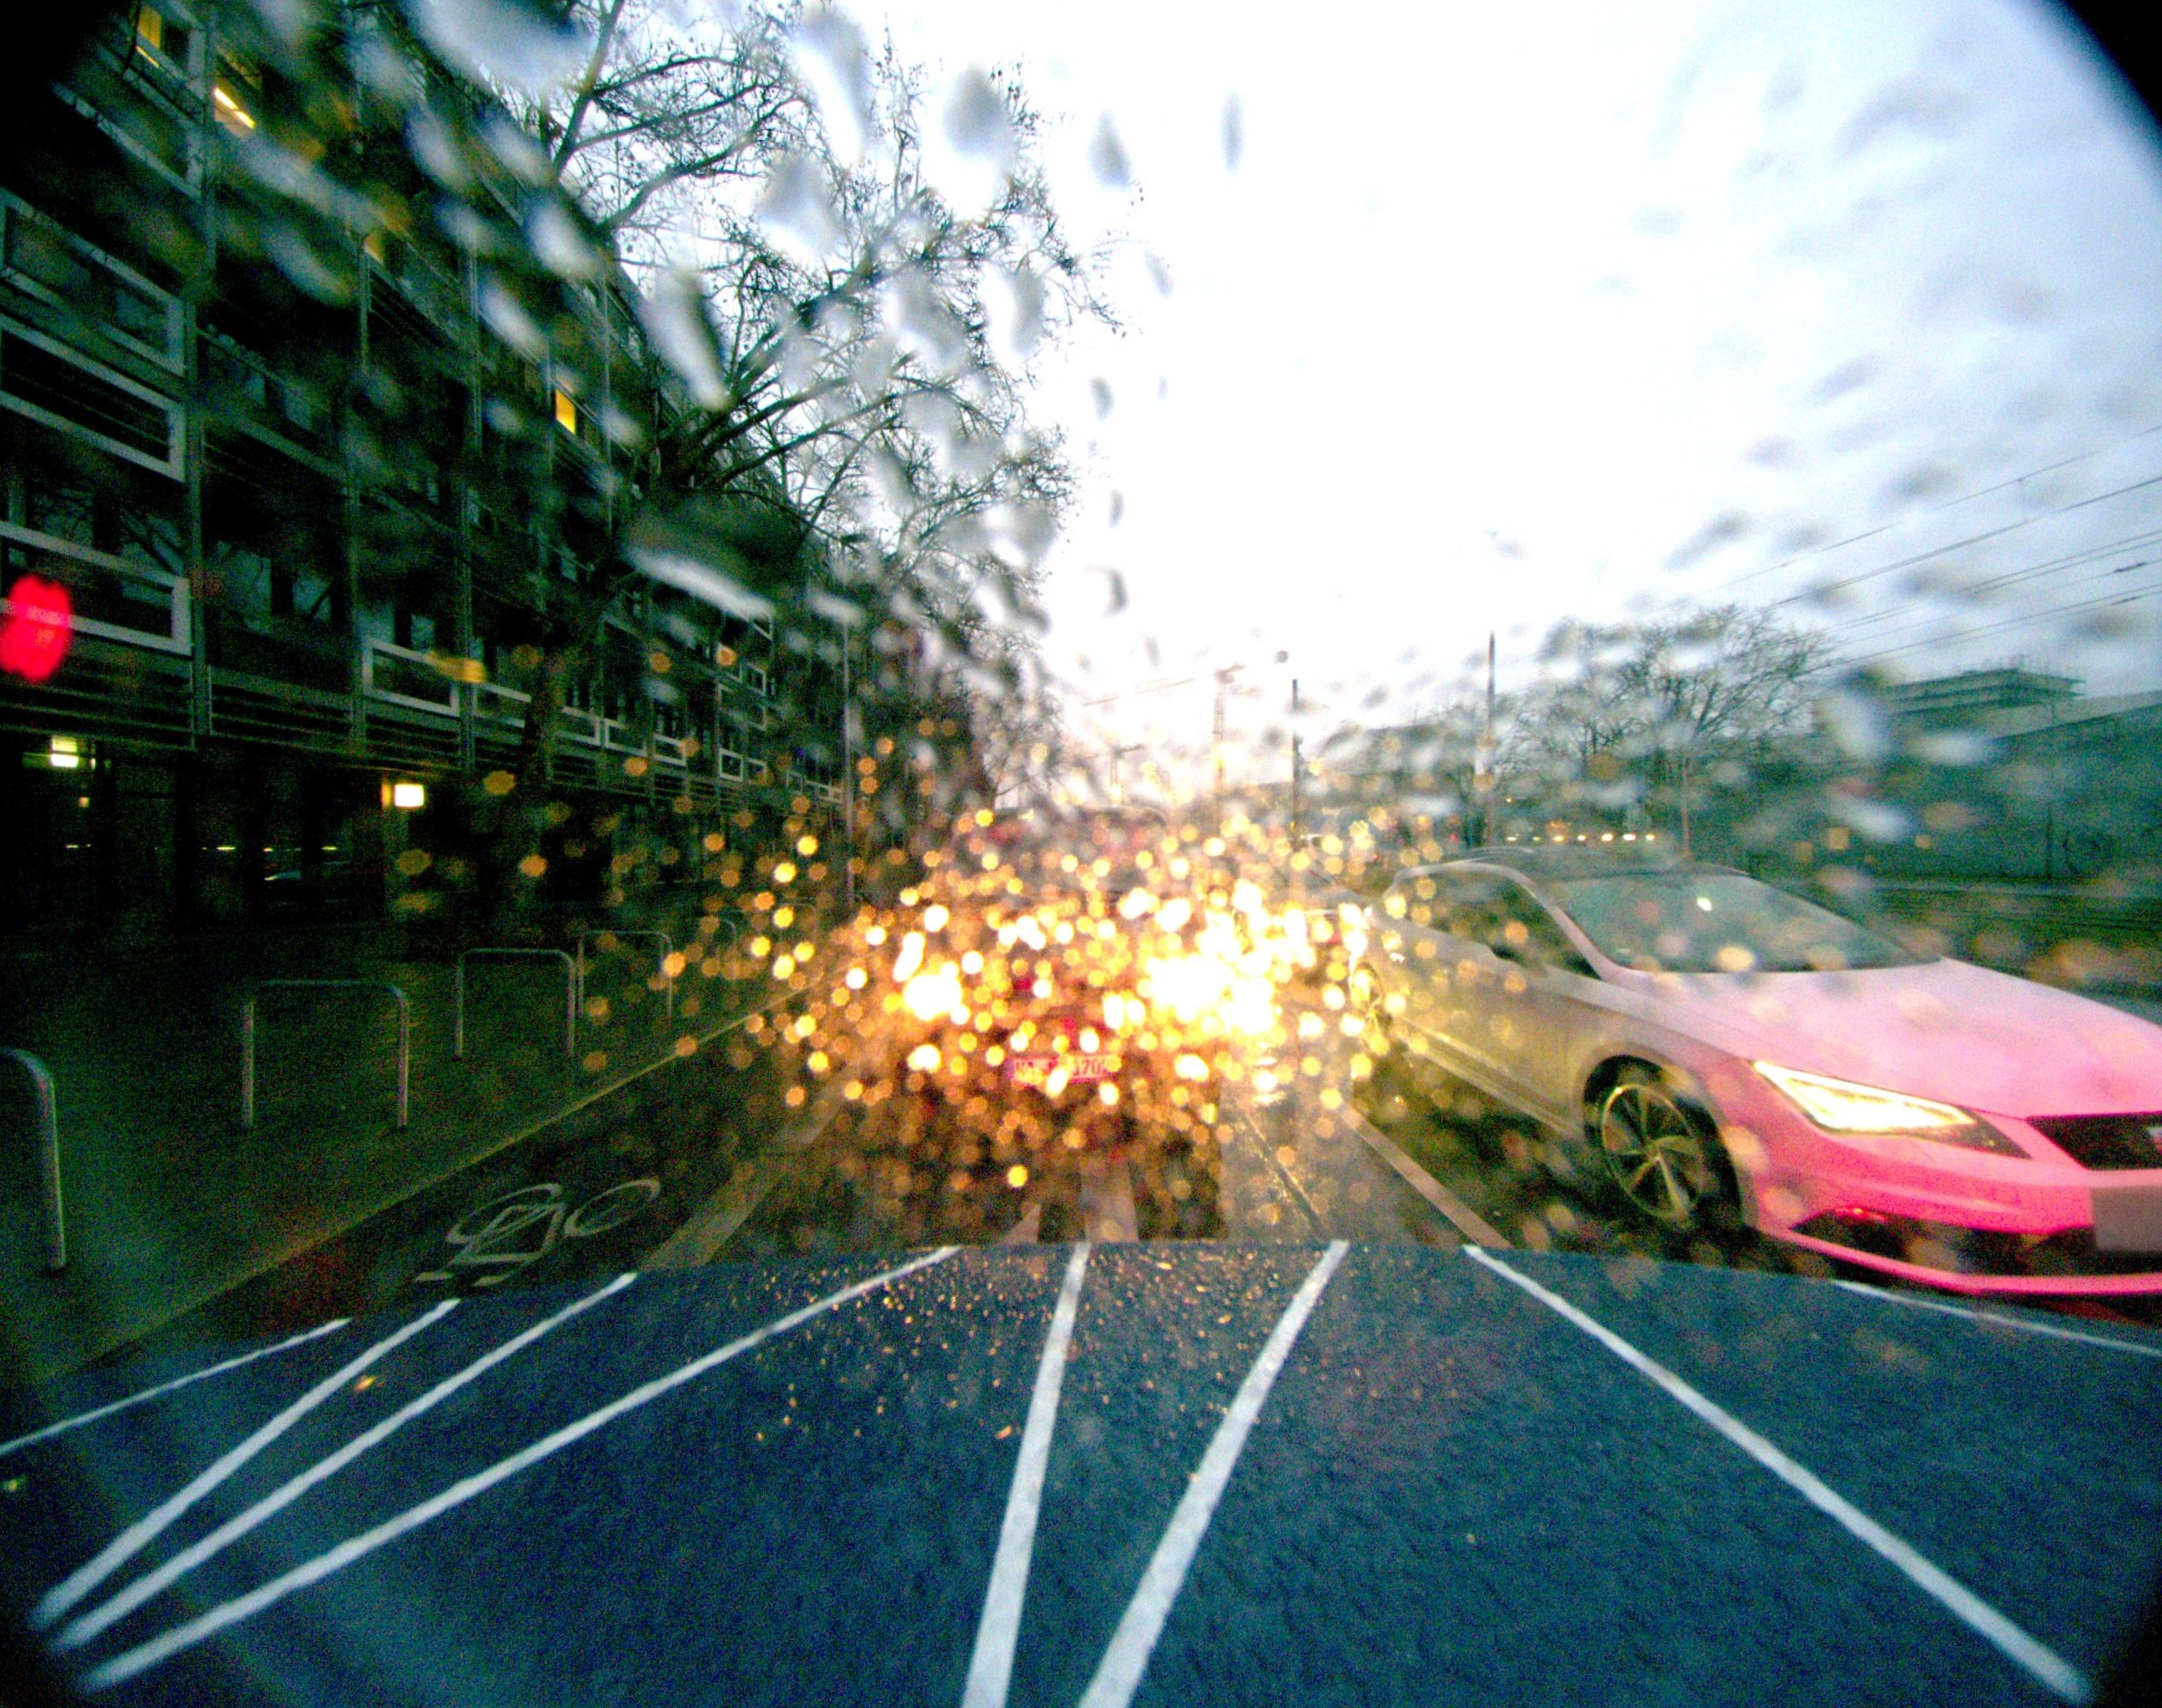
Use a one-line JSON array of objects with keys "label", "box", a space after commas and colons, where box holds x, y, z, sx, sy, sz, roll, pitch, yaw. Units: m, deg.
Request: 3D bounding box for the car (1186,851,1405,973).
[{"label": "car", "box": [2.951, 0.701, 11.593, 1.999, 1.478, 4.505, -1, 0, -1]}]

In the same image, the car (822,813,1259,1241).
[{"label": "car", "box": [-0.237, 0.748, 5.392, 1.878, 1.830, 3.999, -2, 1, -2]}]

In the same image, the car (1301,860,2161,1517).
[{"label": "car", "box": [2.981, 0.839, 4.164, 1.949, 1.478, 4.504, -2, 0, -4]}]

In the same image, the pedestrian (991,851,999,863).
[{"label": "pedestrian", "box": [-9.928, 0.354, 87.758, 0.782, 1.330, 0.751, -2, 1, 1]}]

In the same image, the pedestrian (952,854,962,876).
[{"label": "pedestrian", "box": [-10.288, 0.894, 63.084, 0.766, 1.740, 0.928, 0, 1, -4]}]

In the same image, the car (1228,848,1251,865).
[{"label": "car", "box": [20.328, 0.307, 97.601, 1.998, 2.002, 3.999, -2, 1, 1]}]

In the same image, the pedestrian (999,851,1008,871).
[{"label": "pedestrian", "box": [-6.986, 0.609, 68.248, 0.766, 1.740, 0.928, 0, 1, -4]}]

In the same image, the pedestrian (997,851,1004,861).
[{"label": "pedestrian", "box": [-11.041, 0.212, 104.310, 0.719, 1.330, 0.791, -2, 1, 1]}]

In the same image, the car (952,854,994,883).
[{"label": "car", "box": [-6.108, 0.802, 43.440, 1.713, 1.455, 3.999, -2, 1, 1]}]

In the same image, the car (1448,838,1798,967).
[{"label": "car", "box": [7.597, 0.543, 11.393, 1.853, 1.499, 4.662, -1, 1, -1]}]

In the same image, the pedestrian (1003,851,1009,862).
[{"label": "pedestrian", "box": [-11.847, 0.339, 119.954, 0.766, 1.740, 0.928, 0, 1, -4]}]

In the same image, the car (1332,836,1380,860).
[{"label": "car", "box": [22.395, -0.452, 62.087, 2.095, 1.884, 3.997, -1, 1, -7]}]

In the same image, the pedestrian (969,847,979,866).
[{"label": "pedestrian", "box": [-9.656, 0.203, 68.438, 0.766, 1.740, 0.928, 0, 1, -4]}]

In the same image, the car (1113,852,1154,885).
[{"label": "car", "box": [2.772, 0.720, 40.703, 1.907, 1.565, 3.999, -2, 1, 1]}]

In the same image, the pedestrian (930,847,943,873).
[{"label": "pedestrian", "box": [-12.695, 0.511, 66.745, 1.062, 2.182, 1.110, -2, 1, -11]}]

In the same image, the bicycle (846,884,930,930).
[{"label": "bicycle", "box": [-4.453, 1.218, 17.643, 1.704, 0.987, 0.879, 1, 1, 0]}]
